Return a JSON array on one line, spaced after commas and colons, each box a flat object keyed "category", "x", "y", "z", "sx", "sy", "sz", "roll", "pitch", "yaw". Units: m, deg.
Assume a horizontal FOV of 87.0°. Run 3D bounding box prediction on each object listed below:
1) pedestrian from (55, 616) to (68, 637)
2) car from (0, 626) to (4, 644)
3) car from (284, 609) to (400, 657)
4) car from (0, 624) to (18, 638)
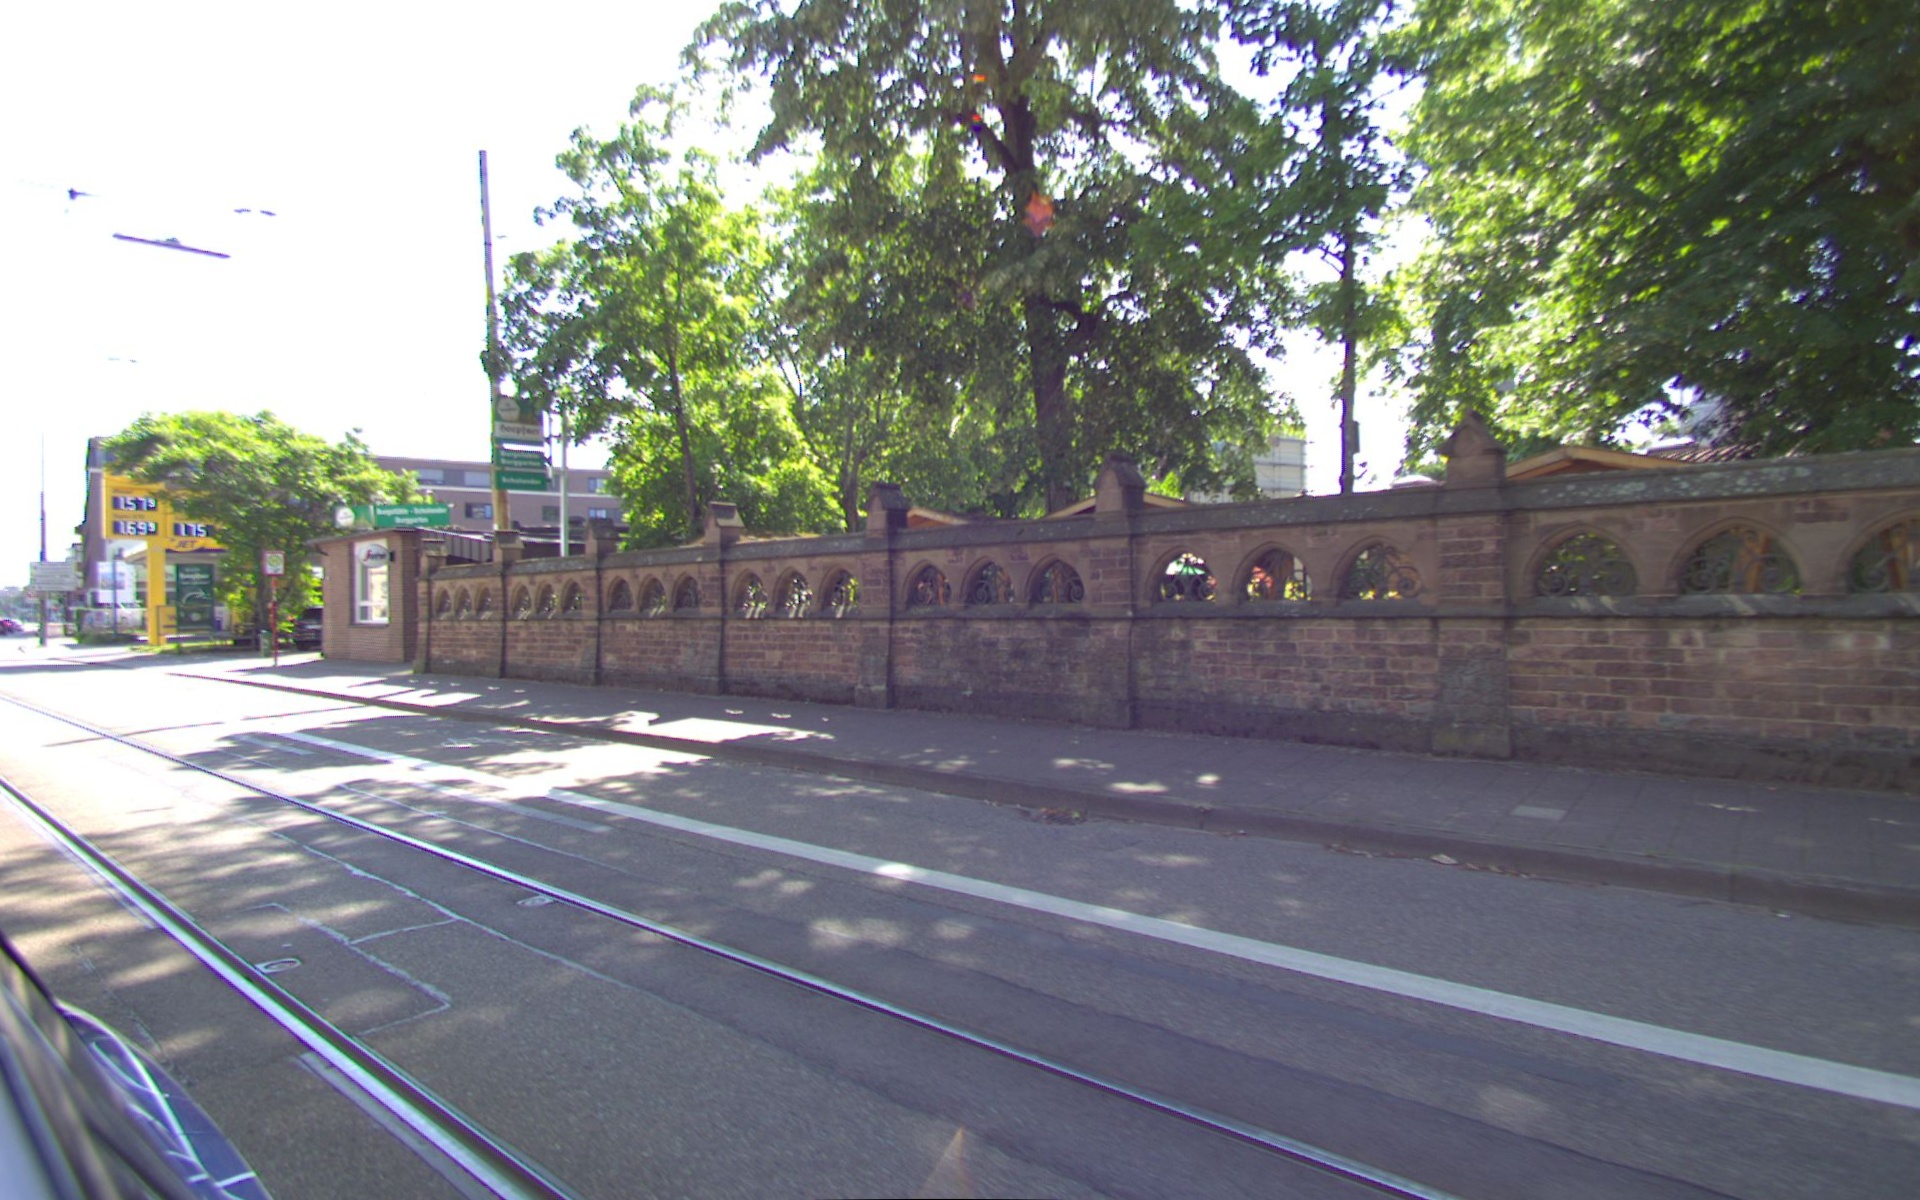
[{"category": "pedestrian", "x": -80.724, "y": 2.366, "z": 90.919, "sx": 0.834, "sy": 1.833, "sz": 0.840, "roll": -1, "pitch": -1, "yaw": -42}, {"category": "car", "x": -92.262, "y": 3.323, "z": 96.330, "sx": 3.893, "sy": 1.583, "sz": 1.726, "roll": -1, "pitch": -1, "yaw": 45}, {"category": "car", "x": -23.073, "y": 1.167, "z": 38.009, "sx": 1.920, "sy": 1.637, "sz": 4.584, "roll": -1, "pitch": 0, "yaw": -5}, {"category": "car", "x": -115.836, "y": 3.739, "z": 123.112, "sx": 1.691, "sy": 1.634, "sz": 3.583, "roll": -2, "pitch": 0, "yaw": -42}]
